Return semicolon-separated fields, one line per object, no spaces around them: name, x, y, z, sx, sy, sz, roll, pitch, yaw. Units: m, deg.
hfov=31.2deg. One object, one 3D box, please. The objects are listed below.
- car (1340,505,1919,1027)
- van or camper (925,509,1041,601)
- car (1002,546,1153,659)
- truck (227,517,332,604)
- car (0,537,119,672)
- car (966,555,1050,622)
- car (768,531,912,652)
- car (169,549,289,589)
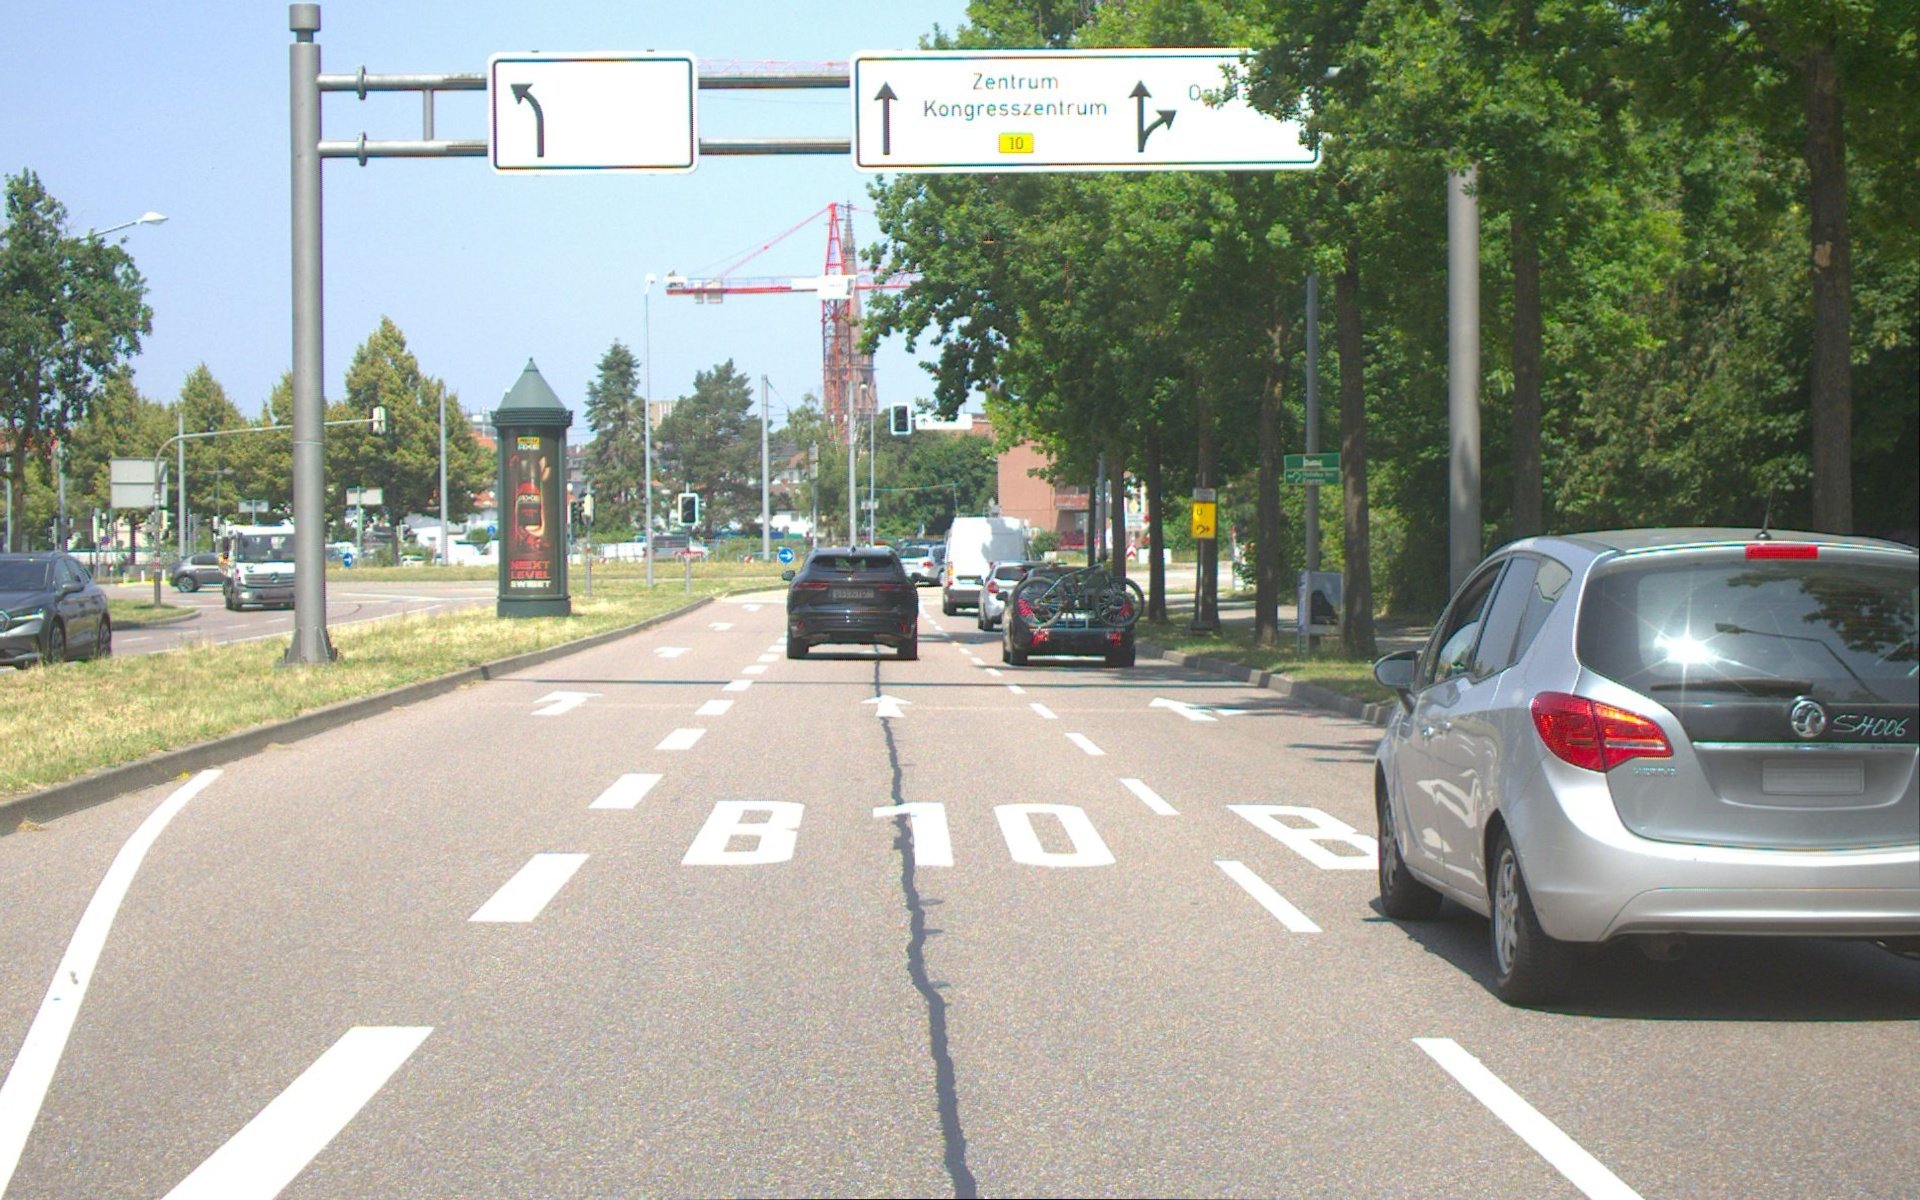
car;2.568;0.471;12.595;1.792;1.606;3.891;1;1;-2
van or camper;0.561;-1.182;88.969;2.493;2.283;4.922;-1;1;-5
car;1.619;0.002;48.953;2.014;1.512;4.461;-1;1;0
truck;-20.898;-1.229;105.815;2.638;2.568;6.319;-1;1;-6
car;-12.022;0.023;43.501;1.892;1.605;4.535;0;1;-3
car;0.999;-0.267;74.217;1.654;1.351;4.461;-1;1;-1
car;-1.750;-0.163;51.289;1.998;1.683;4.034;1;1;0
car;-26.903;-1.141;126.587;3.987;1.448;2.000;0;1;0
